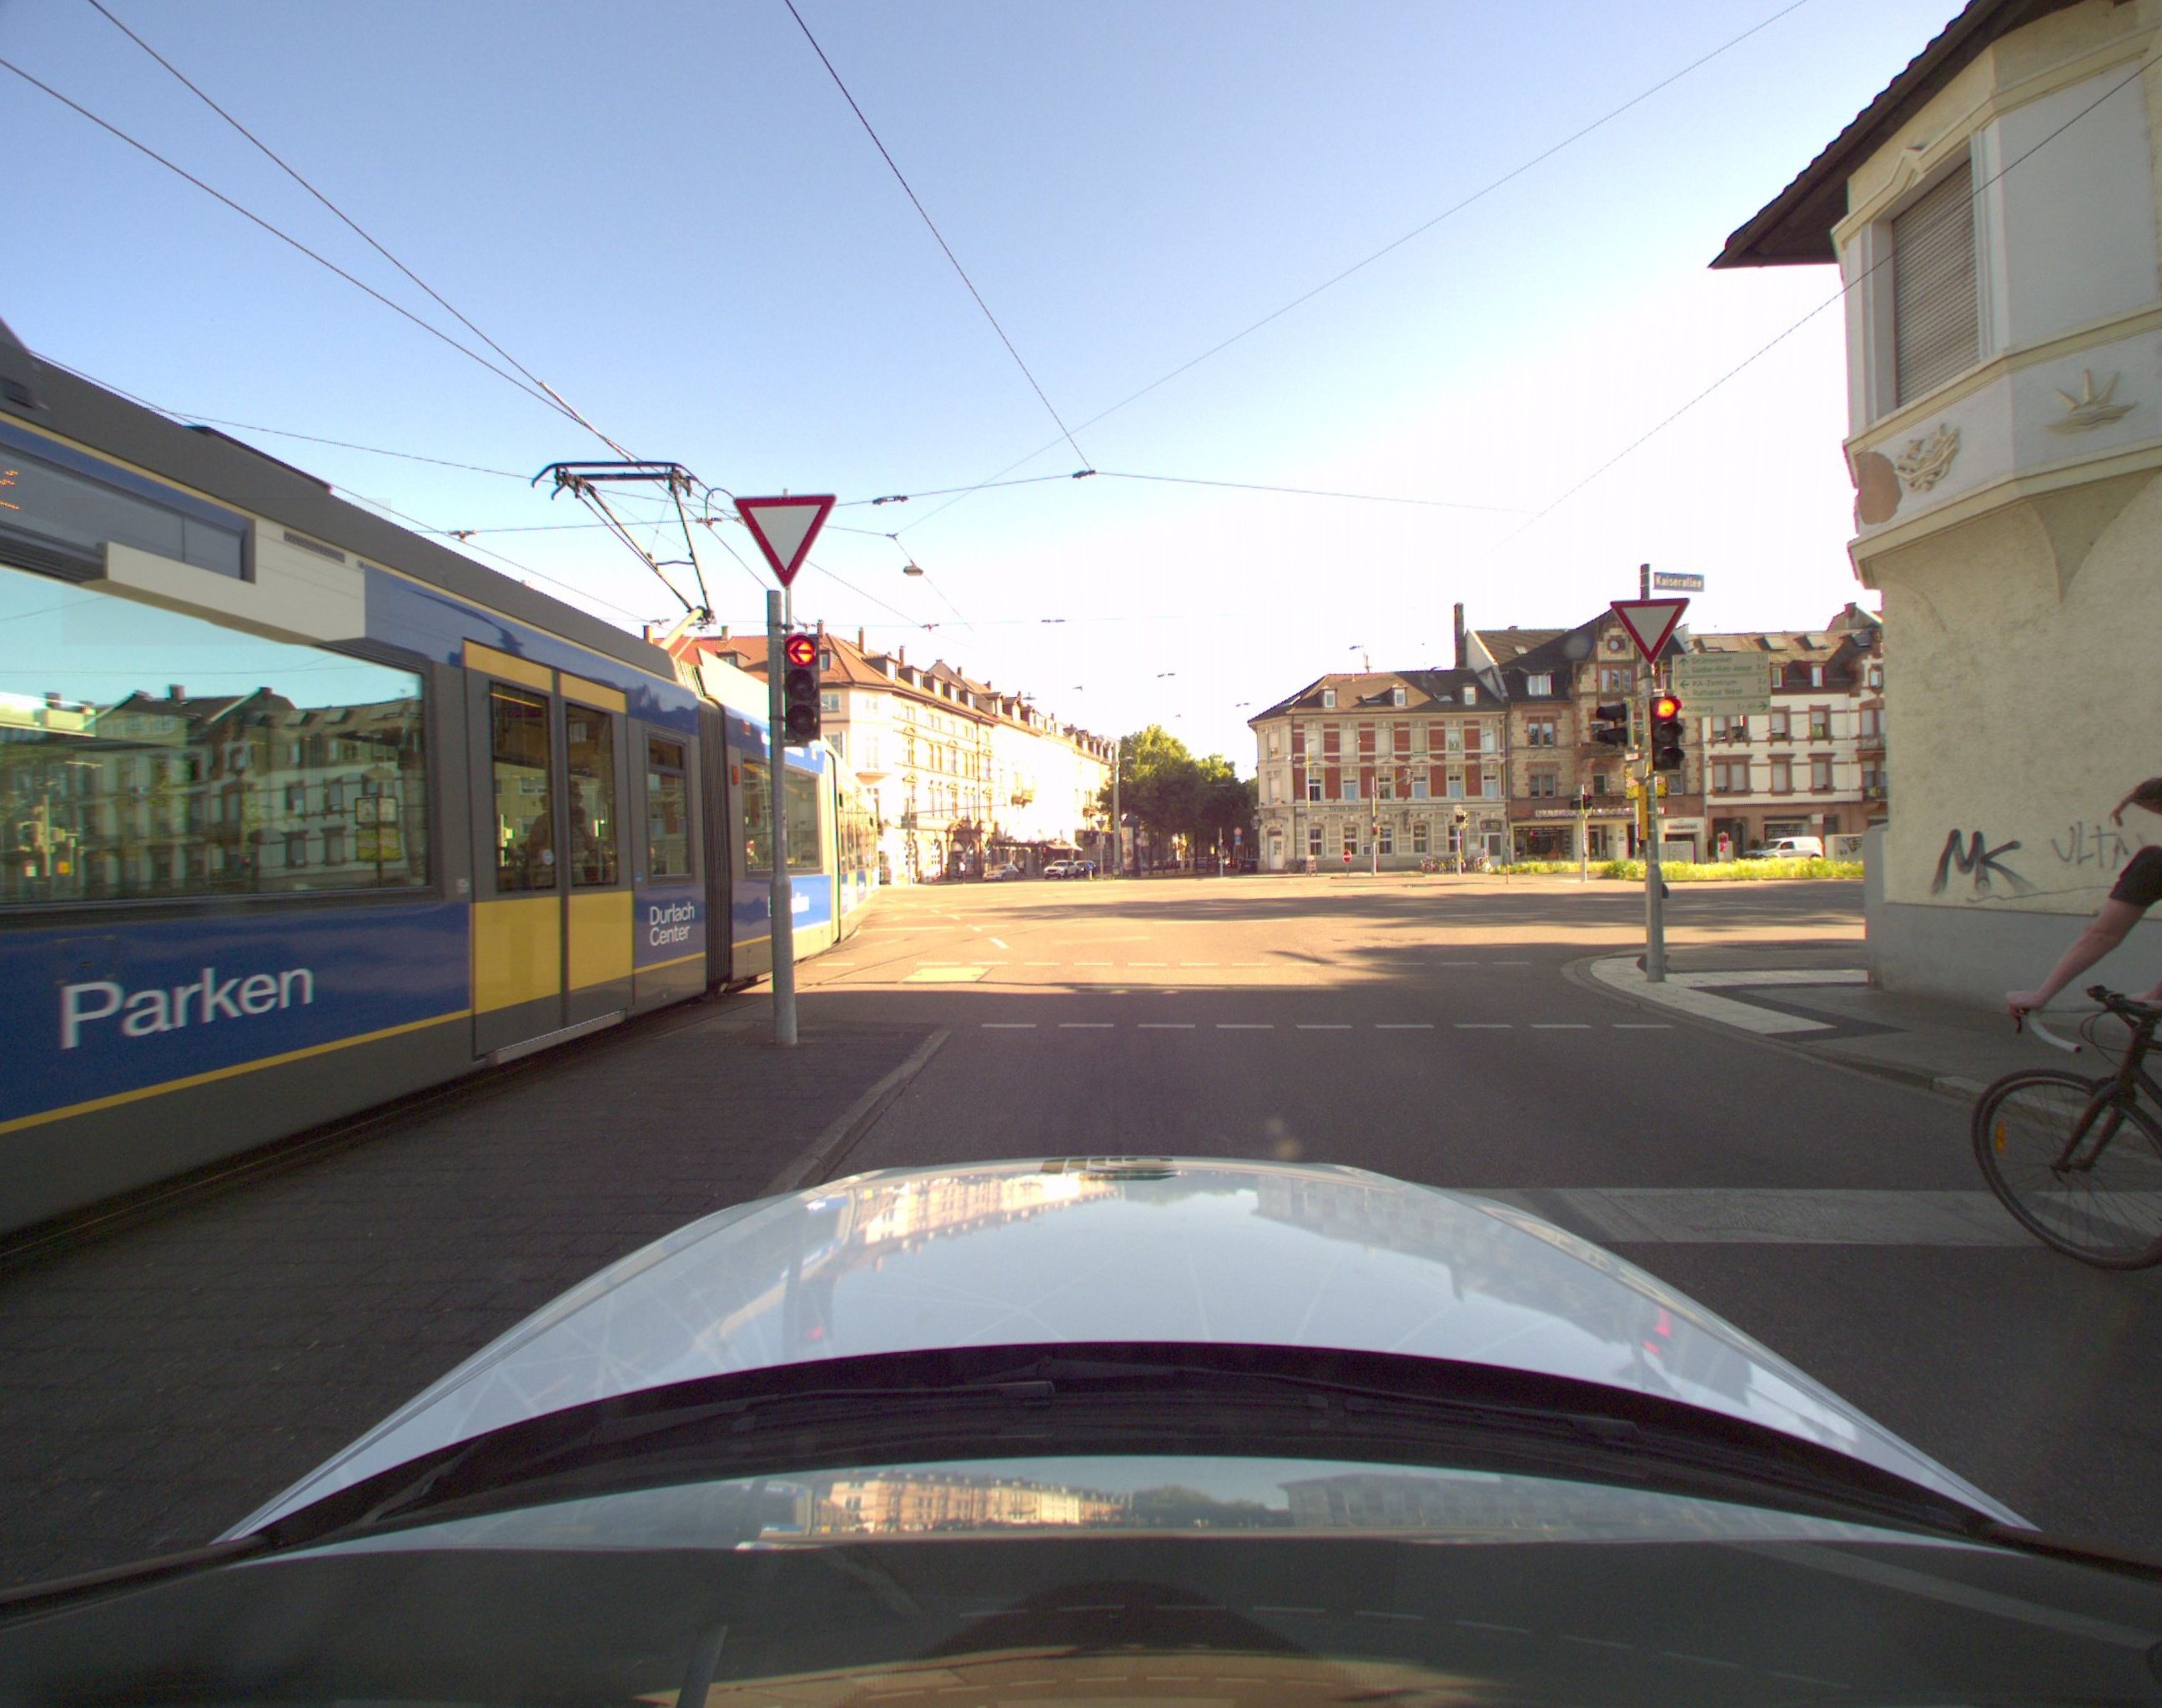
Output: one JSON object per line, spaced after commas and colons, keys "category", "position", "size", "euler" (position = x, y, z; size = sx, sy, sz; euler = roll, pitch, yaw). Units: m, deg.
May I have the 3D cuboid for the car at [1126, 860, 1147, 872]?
{"category": "car", "position": [7.546, 1.672, 110.983], "size": [1.978, 1.486, 4.017], "euler": [-1, 0, 16]}

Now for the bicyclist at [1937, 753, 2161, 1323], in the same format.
{"category": "bicyclist", "position": [3.595, 0.562, 2.596], "size": [0.559, 1.754, 1.102], "euler": [-2, 0, 4]}

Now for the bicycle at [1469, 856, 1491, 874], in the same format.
{"category": "bicycle", "position": [25.759, 0.697, 52.598], "size": [0.606, 1.136, 2.139], "euler": [-2, 0, 7]}

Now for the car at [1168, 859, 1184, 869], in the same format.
{"category": "car", "position": [15.847, 1.727, 136.168], "size": [1.750, 1.549, 4.411], "euler": [-2, 0, 18]}

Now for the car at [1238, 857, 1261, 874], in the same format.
{"category": "car", "position": [17.023, 1.146, 82.216], "size": [1.978, 1.585, 4.017], "euler": [-2, 0, 16]}

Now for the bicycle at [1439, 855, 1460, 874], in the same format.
{"category": "bicycle", "position": [23.861, 0.679, 52.784], "size": [0.615, 1.143, 2.178], "euler": [-2, 0, 7]}

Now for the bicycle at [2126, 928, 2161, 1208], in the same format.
{"category": "bicycle", "position": [4.530, 0.859, 2.447], "size": [0.516, 1.116, 1.815], "euler": [-2, 0, 4]}

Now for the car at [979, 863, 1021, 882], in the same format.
{"category": "car", "position": [-6.677, 1.522, 67.385], "size": [1.883, 1.455, 4.020], "euler": [-2, 0, 20]}

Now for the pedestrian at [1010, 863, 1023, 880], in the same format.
{"category": "pedestrian", "position": [-6.244, 1.680, 78.875], "size": [0.921, 1.535, 1.142], "euler": [-1, 0, 16]}

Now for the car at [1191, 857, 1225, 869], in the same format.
{"category": "car", "position": [17.983, 1.317, 115.166], "size": [4.335, 1.612, 2.012], "euler": [-2, 0, 28]}

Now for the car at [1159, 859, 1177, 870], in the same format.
{"category": "car", "position": [13.929, 1.707, 130.333], "size": [1.822, 1.552, 4.412], "euler": [-2, 0, 19]}

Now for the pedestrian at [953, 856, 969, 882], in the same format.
{"category": "pedestrian", "position": [-8.312, 1.033, 56.462], "size": [1.047, 1.744, 0.805], "euler": [-1, 0, -12]}

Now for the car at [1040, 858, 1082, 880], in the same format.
{"category": "car", "position": [-1.602, 1.252, 67.542], "size": [1.977, 1.684, 4.413], "euler": [-2, 0, 20]}

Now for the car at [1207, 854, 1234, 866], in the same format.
{"category": "car", "position": [22.848, 0.979, 133.302], "size": [3.948, 1.706, 2.013], "euler": [-2, 0, 32]}

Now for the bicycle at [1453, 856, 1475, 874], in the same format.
{"category": "bicycle", "position": [24.782, 0.717, 52.689], "size": [0.615, 1.143, 2.178], "euler": [-2, 0, 7]}

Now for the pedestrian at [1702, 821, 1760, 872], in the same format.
{"category": "pedestrian", "position": [27.114, -0.299, 33.998], "size": [1.314, 2.044, 1.307], "euler": [-2, 0, 1]}

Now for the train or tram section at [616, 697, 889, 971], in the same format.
{"category": "train or tram section", "position": [-5.632, -0.271, 16.535], "size": [2.771, 3.499, 11.985], "euler": [-1, 0, -11]}

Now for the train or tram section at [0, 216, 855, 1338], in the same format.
{"category": "train or tram section", "position": [-4.626, -0.236, 6.728], "size": [2.804, 3.499, 8.465], "euler": [-1, 0, 2]}

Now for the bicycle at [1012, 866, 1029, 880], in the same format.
{"category": "bicycle", "position": [-4.811, 1.512, 65.299], "size": [0.675, 1.066, 2.133], "euler": [-2, 0, 14]}

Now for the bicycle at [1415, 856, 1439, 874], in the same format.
{"category": "bicycle", "position": [22.503, 0.708, 52.986], "size": [0.802, 1.143, 2.178], "euler": [-2, 0, 7]}

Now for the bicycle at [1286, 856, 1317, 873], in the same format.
{"category": "bicycle", "position": [15.504, 0.728, 57.190], "size": [2.081, 1.124, 0.366], "euler": [0, -1, -3]}

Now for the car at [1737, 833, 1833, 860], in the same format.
{"category": "car", "position": [45.362, -0.468, 52.551], "size": [4.317, 1.640, 2.152], "euler": [-2, 0, 1]}

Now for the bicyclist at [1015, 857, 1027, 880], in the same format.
{"category": "bicyclist", "position": [-4.807, 1.132, 65.342], "size": [0.674, 1.820, 1.075], "euler": [-2, 0, 14]}

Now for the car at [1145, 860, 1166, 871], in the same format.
{"category": "car", "position": [11.269, 1.737, 122.602], "size": [1.977, 1.612, 4.413], "euler": [-2, 0, 20]}

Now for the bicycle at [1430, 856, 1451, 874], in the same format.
{"category": "bicycle", "position": [23.282, 0.698, 52.837], "size": [0.615, 1.143, 2.178], "euler": [-2, 0, 7]}

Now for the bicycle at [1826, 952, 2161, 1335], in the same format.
{"category": "bicycle", "position": [3.610, 0.949, 2.673], "size": [0.642, 1.010, 1.930], "euler": [-2, 0, 4]}

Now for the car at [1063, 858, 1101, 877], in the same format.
{"category": "car", "position": [0.124, 1.219, 74.019], "size": [1.977, 1.612, 4.413], "euler": [-2, 0, 20]}
